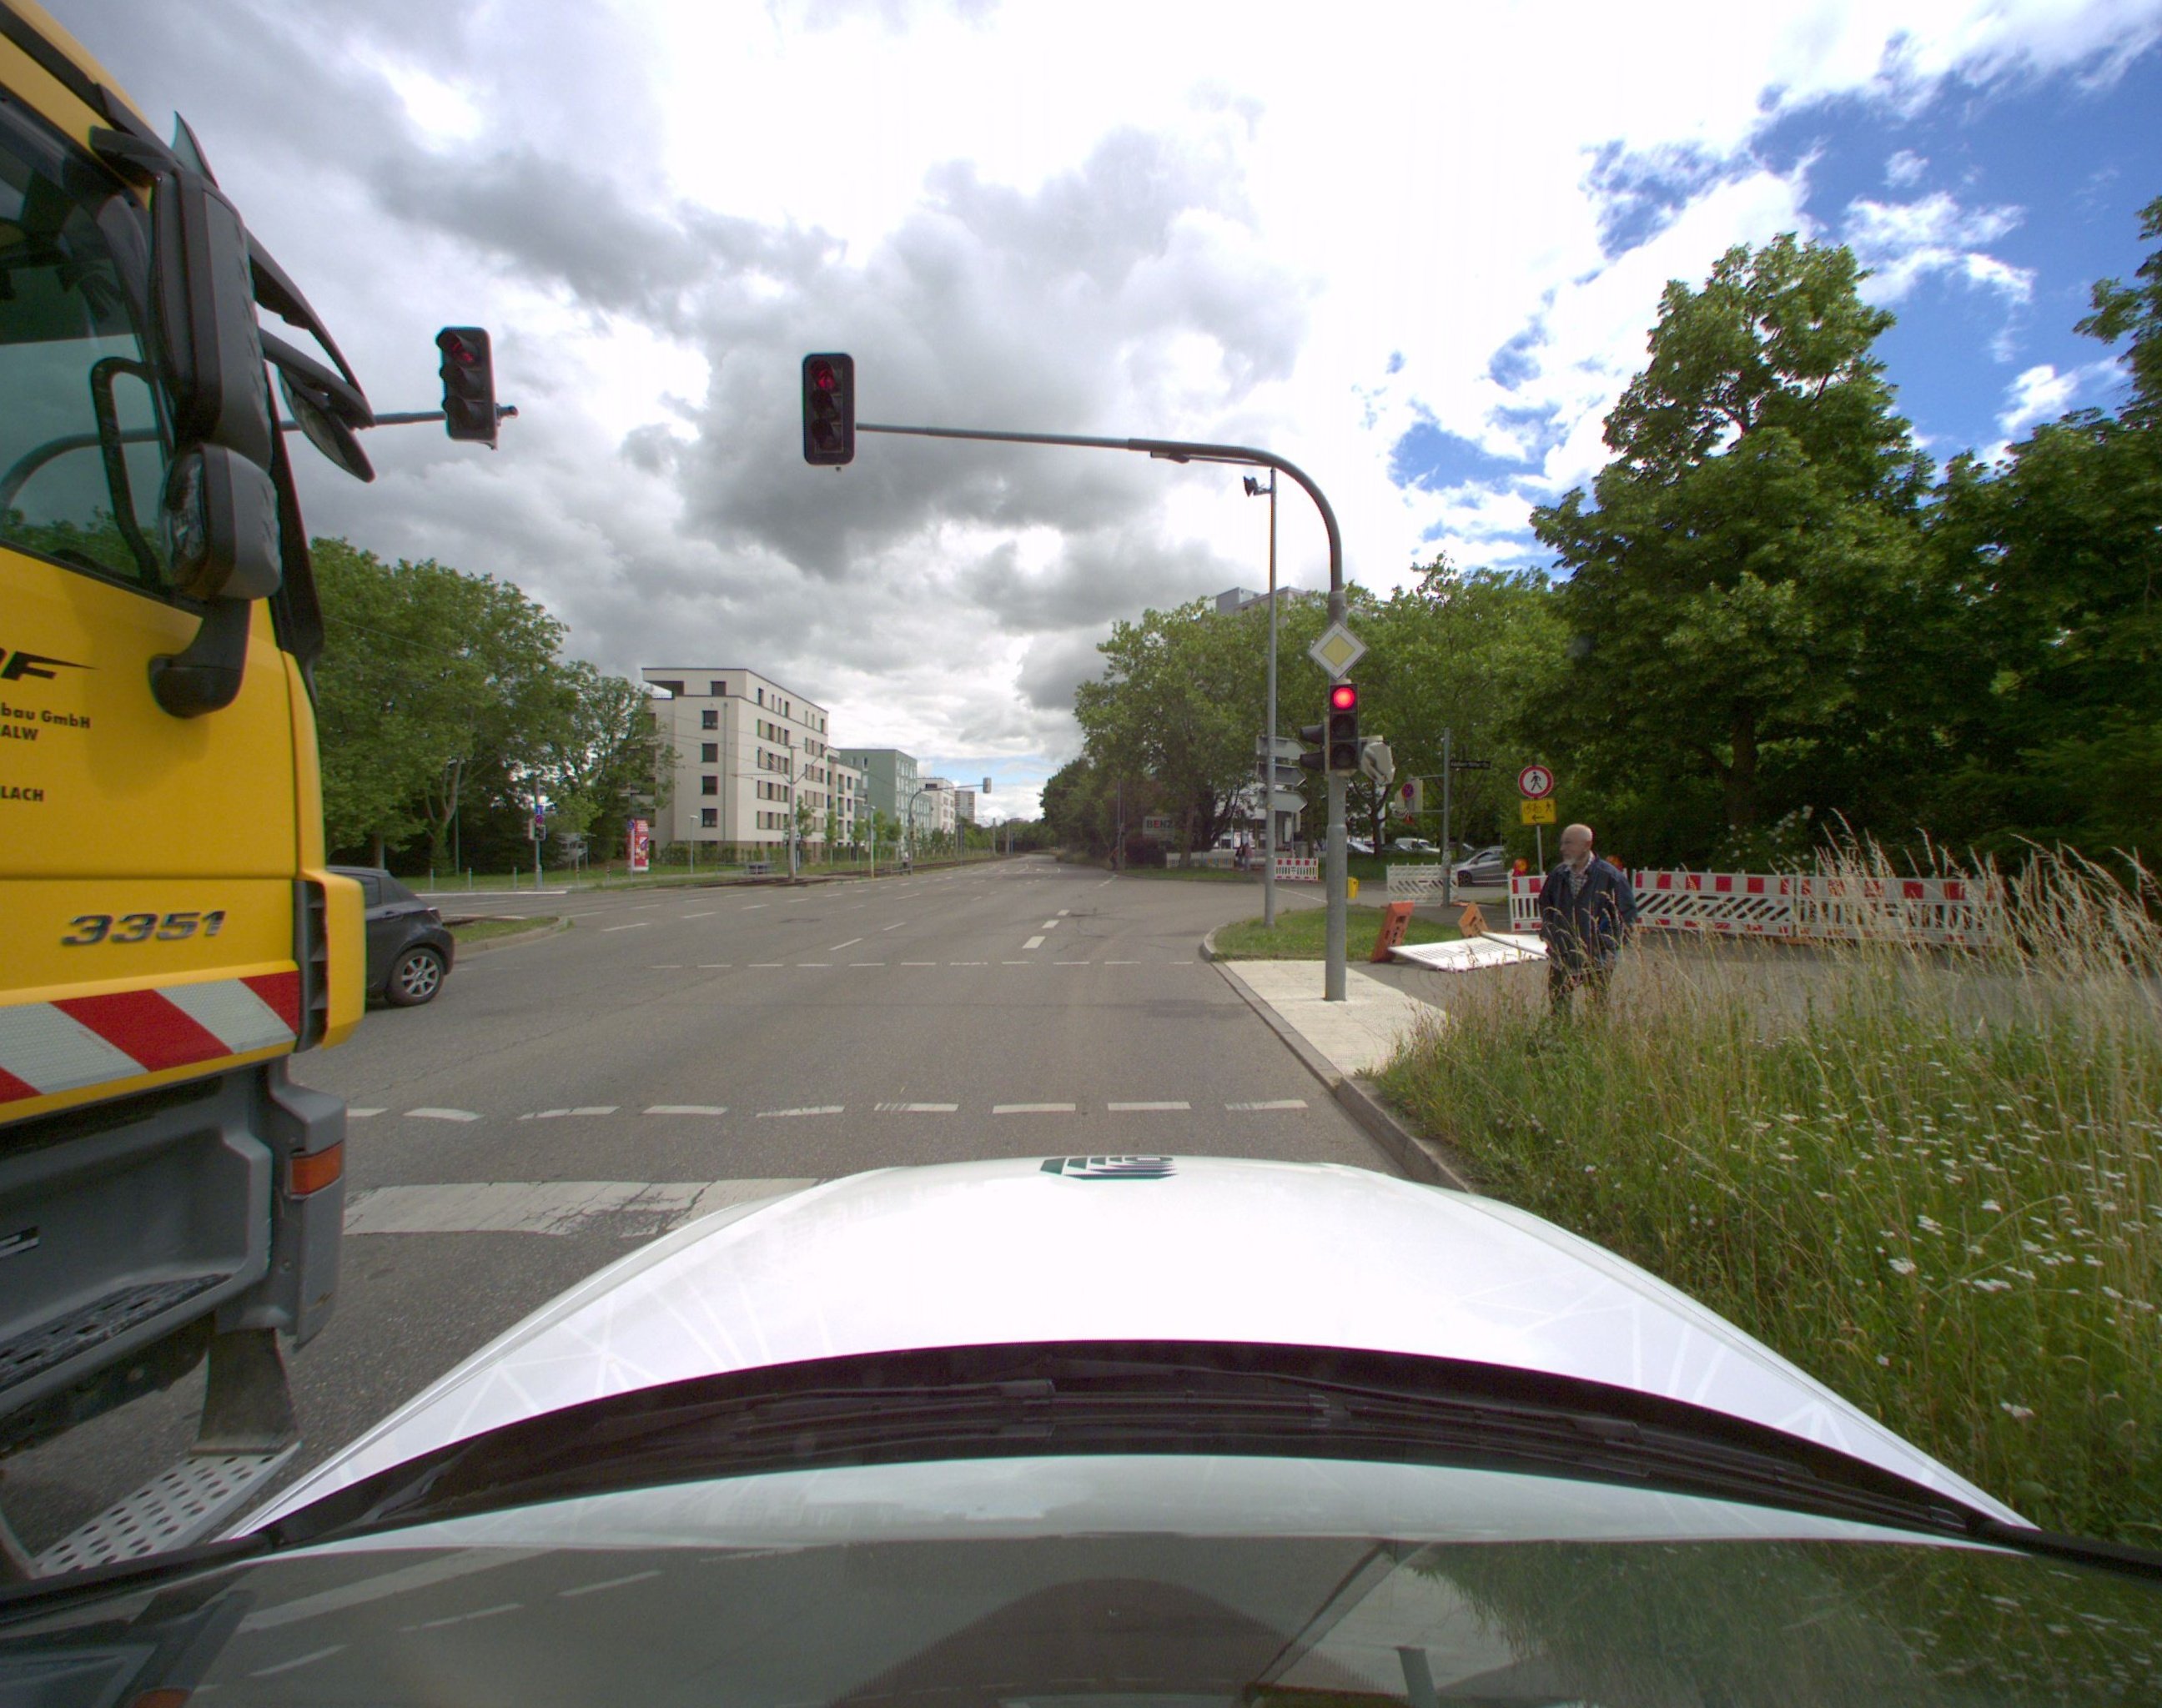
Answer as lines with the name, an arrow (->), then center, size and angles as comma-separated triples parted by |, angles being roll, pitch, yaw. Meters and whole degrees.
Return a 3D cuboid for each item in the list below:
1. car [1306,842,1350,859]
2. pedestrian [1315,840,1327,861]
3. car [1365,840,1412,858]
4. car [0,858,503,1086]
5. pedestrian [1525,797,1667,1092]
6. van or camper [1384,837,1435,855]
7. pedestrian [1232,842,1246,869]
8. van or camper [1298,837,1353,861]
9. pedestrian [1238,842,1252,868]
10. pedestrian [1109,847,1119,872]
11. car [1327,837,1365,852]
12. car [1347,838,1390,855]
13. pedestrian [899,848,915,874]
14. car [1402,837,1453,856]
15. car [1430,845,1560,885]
car -> 21.235, -0.308, 69.999 | 3.404, 1.445, 1.477 | 0, -1, -16
pedestrian -> 22.188, -0.313, 75.174 | 0.802, 2.002, 0.852 | 0, -1, -3
car -> 24.318, -0.379, 64.525 | 1.488, 1.404, 3.378 | 0, -1, -27
car -> -7.751, 0.809, 7.495 | 1.769, 1.469, 4.048 | -1, 0, 4
pedestrian -> 3.379, 0.530, 5.389 | 0.719, 1.740, 0.962 | -1, 0, 31
van or camper -> 26.975, -0.647, 67.057 | 1.523, 1.356, 3.738 | 0, -1, -31
pedestrian -> 9.044, 0.087, 46.763 | 0.714, 1.489, 0.700 | 0, -1, 6
van or camper -> 18.477, -0.385, 61.728 | 1.849, 1.684, 3.967 | -1, 0, -25
pedestrian -> 9.558, 0.078, 47.422 | 0.680, 1.489, 0.703 | -1, -1, 21
pedestrian -> 2.101, 0.361, 52.024 | 0.650, 1.539, 0.773 | 0, -1, 2
car -> 25.312, -0.898, 77.808 | 1.489, 1.404, 3.377 | 0, -1, -29
car -> 28.022, -0.772, 79.402 | 1.677, 1.634, 3.787 | 0, 1, -28
pedestrian -> -10.795, 0.453, 50.566 | 0.845, 1.586, 0.796 | 0, -1, 0
car -> 29.019, -0.603, 68.345 | 1.489, 1.465, 3.856 | 0, -1, -29
car -> 16.823, 0.448, 33.250 | 4.379, 1.586, 1.774 | 0, -1, 2
